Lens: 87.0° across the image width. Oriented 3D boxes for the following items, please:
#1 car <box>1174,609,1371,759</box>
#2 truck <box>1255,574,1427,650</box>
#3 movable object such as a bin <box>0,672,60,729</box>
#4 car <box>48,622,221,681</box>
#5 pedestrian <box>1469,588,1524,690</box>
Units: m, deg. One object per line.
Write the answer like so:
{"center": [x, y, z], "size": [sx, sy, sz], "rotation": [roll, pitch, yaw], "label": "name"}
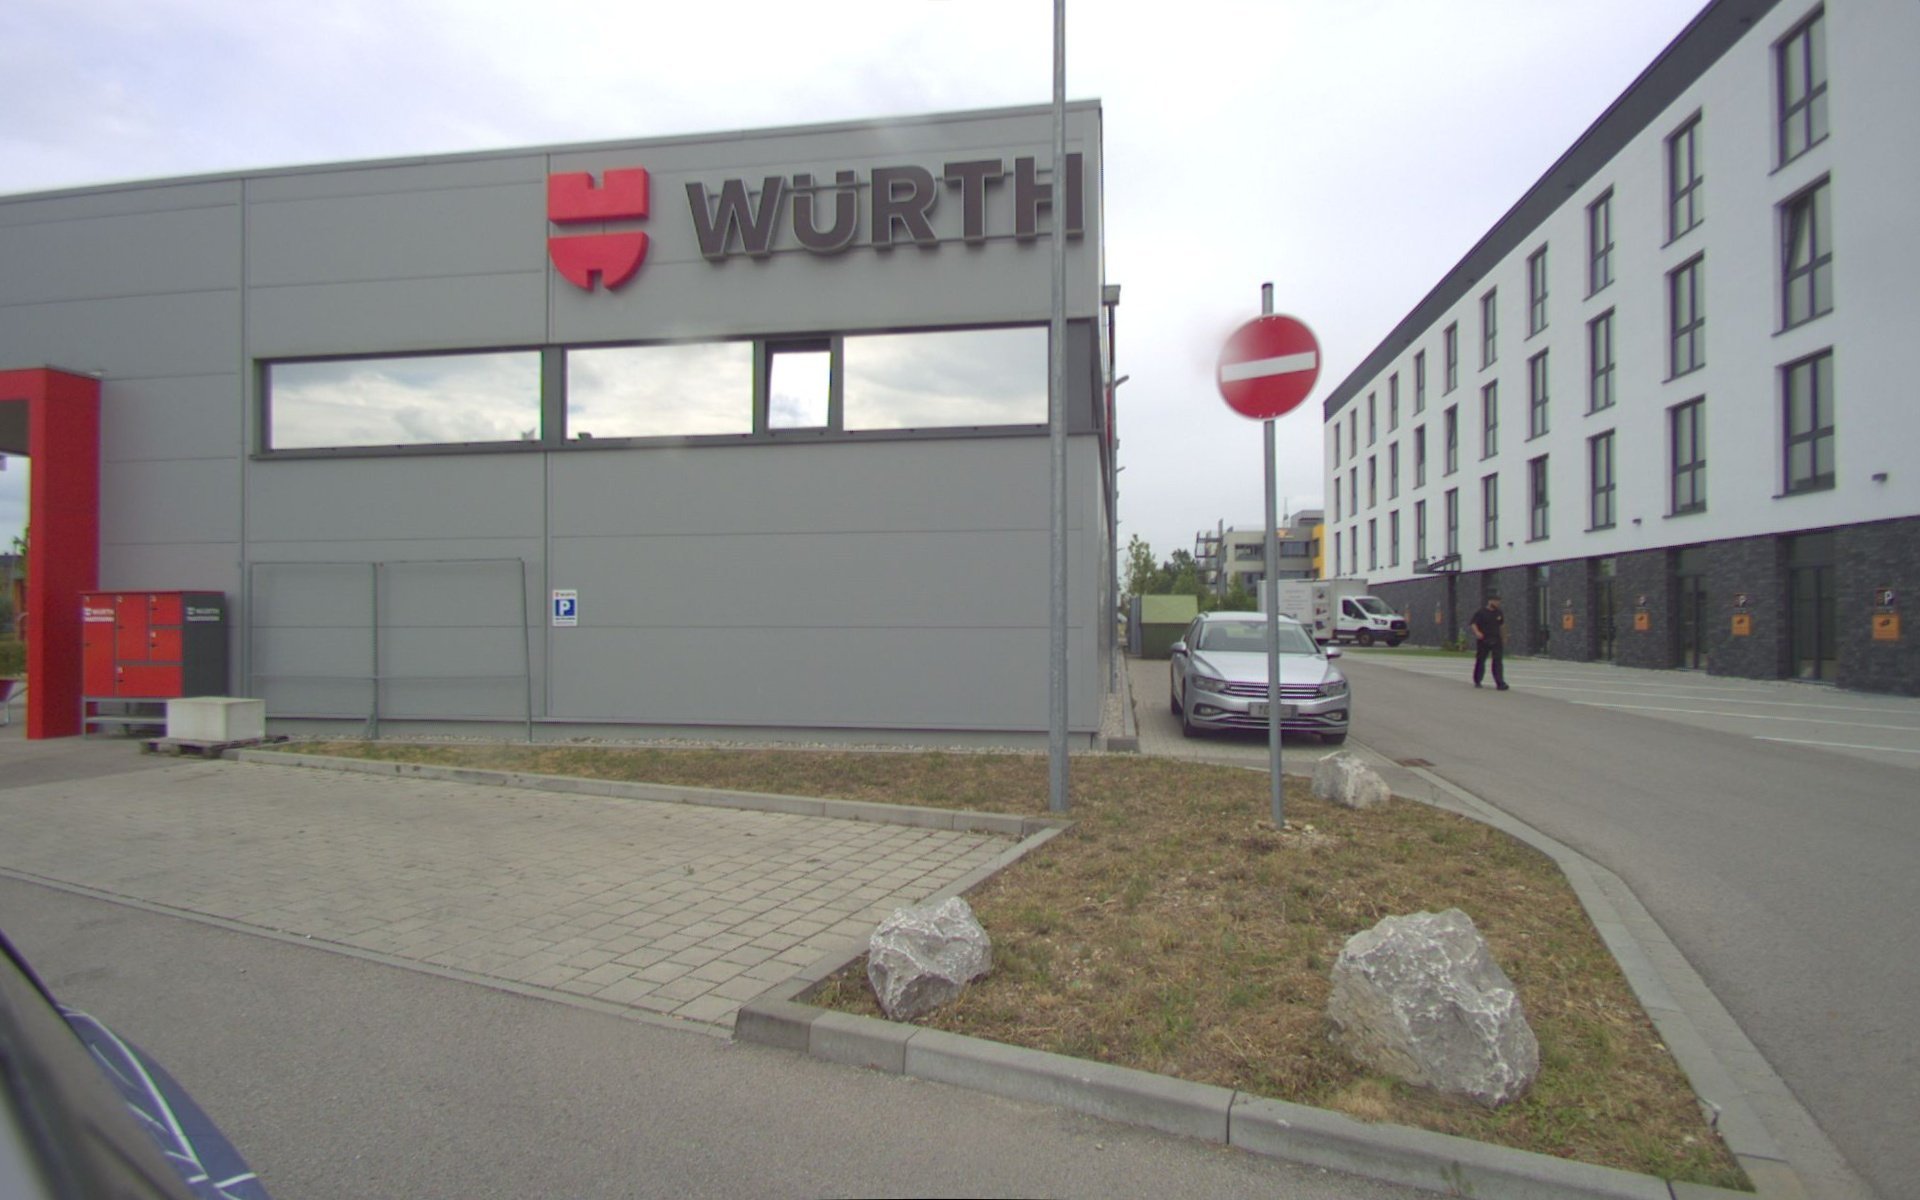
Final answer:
{"center": [3.935, 0.907, 13.008], "size": [1.963, 1.503, 4.745], "rotation": [1, -1, 16], "label": "car"}
{"center": [16.473, 0.554, 44.315], "size": [2.395, 3.039, 7.091], "rotation": [0, -1, -29], "label": "truck"}
{"center": [-13.020, 1.343, 13.336], "size": [0.795, 0.721, 1.579], "rotation": [-1, -2, 11], "label": "movable object such as a bin"}
{"center": [-26.288, 1.631, 32.272], "size": [4.693, 1.762, 1.751], "rotation": [-1, -1, 13], "label": "car"}
{"center": [9.864, 0.710, 18.624], "size": [0.703, 1.836, 0.809], "rotation": [-1, -1, 15], "label": "pedestrian"}
